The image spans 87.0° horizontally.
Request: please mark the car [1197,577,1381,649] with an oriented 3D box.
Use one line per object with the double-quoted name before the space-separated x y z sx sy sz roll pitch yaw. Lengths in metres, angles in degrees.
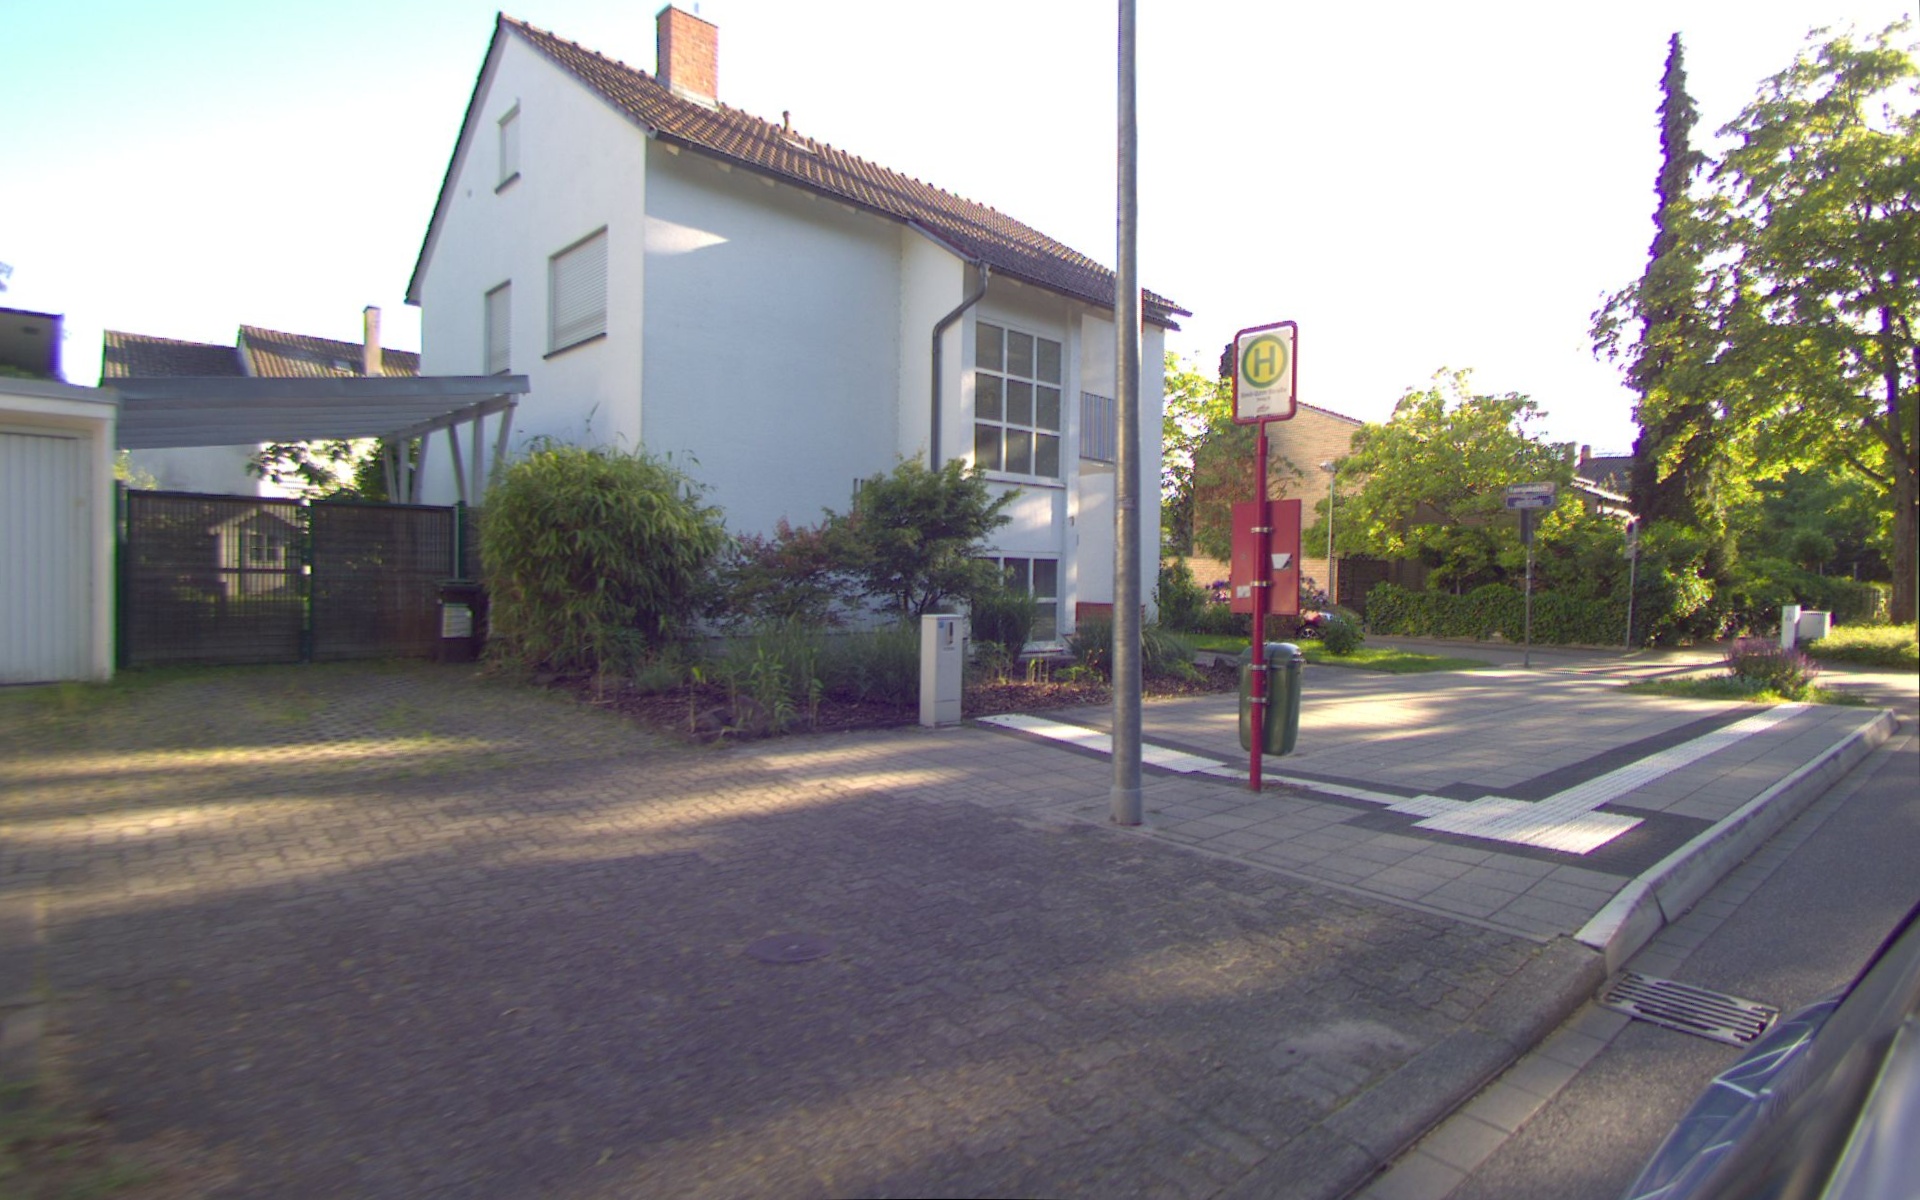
"car" 7.591 0.241 23.543 3.731 1.520 1.664 1 1 44
